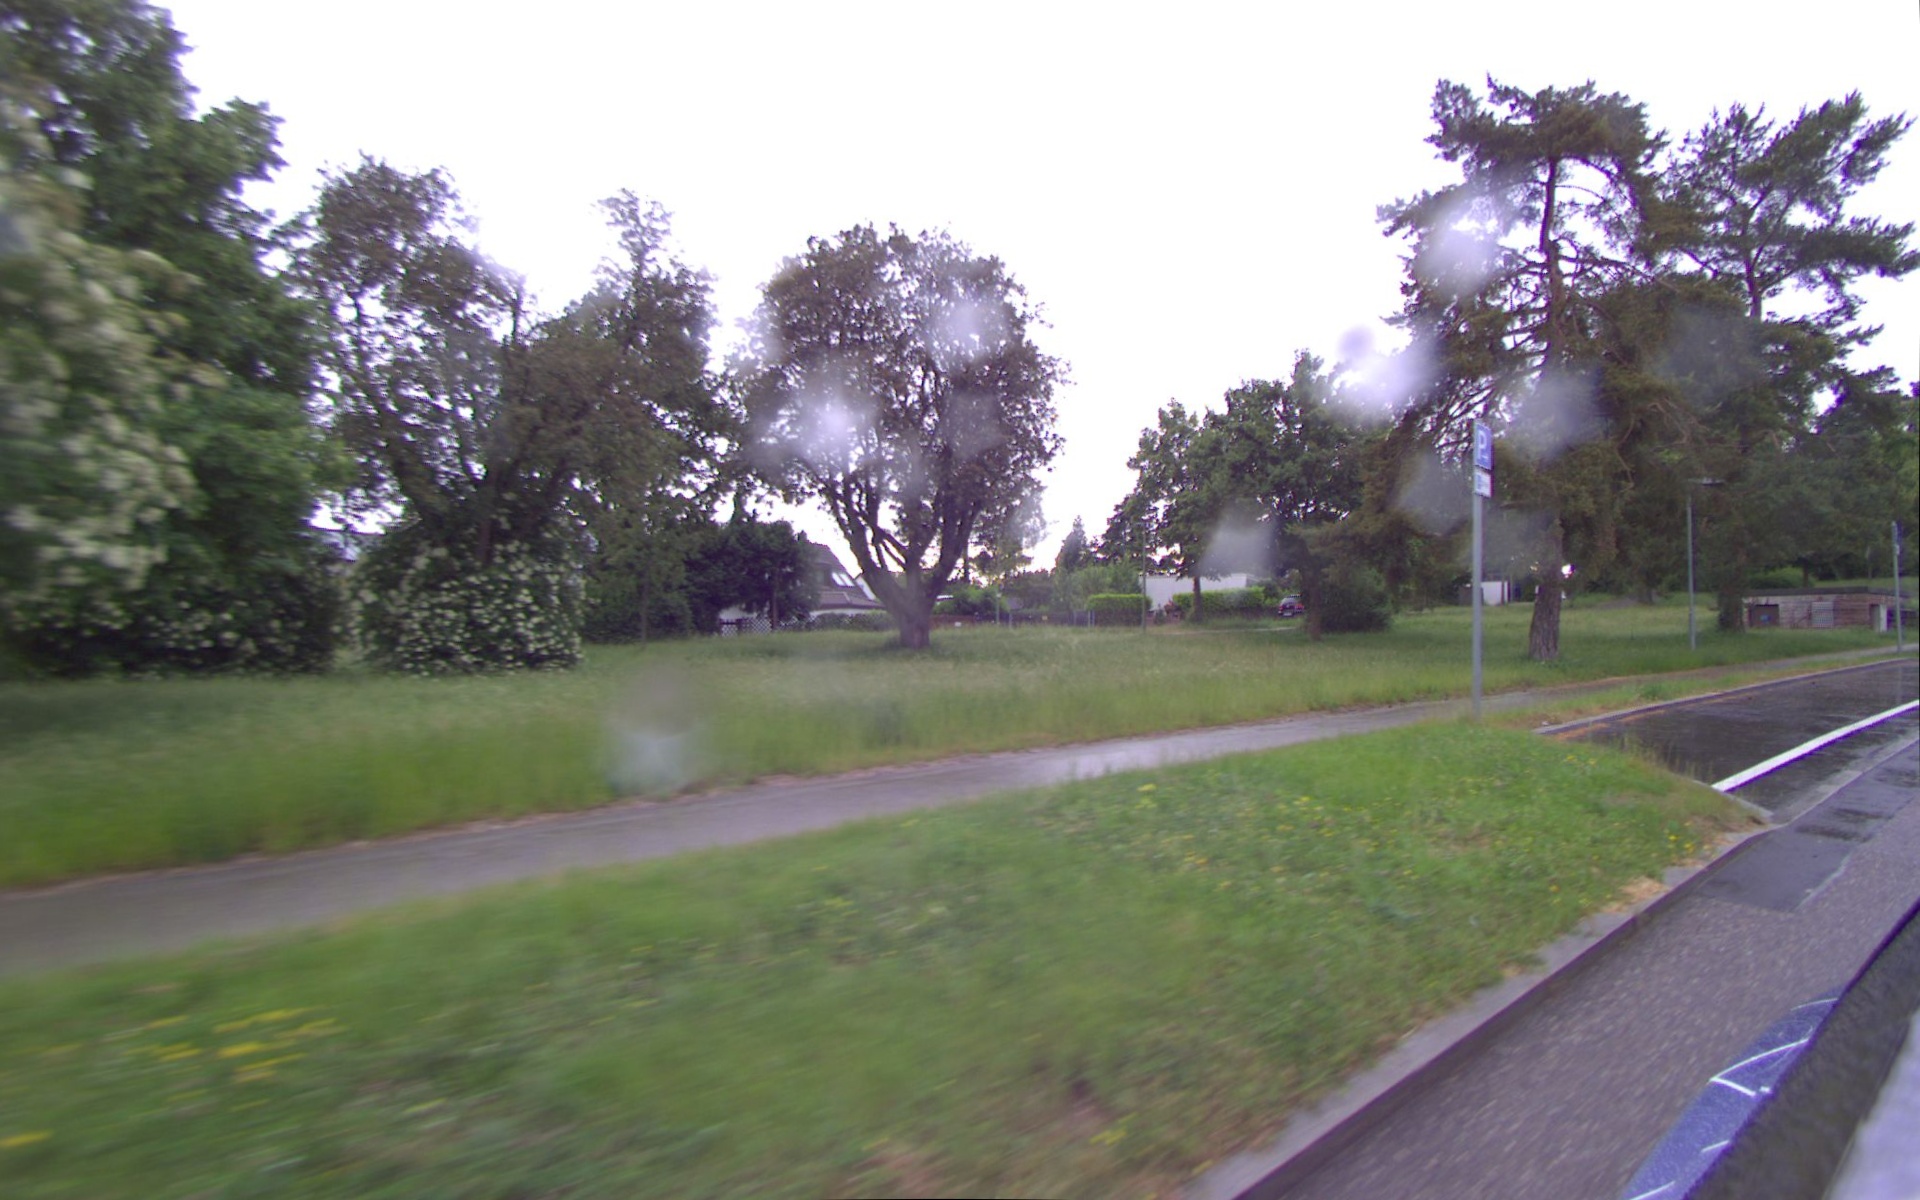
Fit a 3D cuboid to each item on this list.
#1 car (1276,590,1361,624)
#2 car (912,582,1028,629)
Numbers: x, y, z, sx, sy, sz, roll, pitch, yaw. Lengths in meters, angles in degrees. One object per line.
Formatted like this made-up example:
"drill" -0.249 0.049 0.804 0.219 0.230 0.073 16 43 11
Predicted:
"car" 18.220 0.344 51.446 3.917 1.674 1.835 0 -1 -24
"car" 0.484 0.292 58.202 6.662 2.531 2.572 1 -2 43
